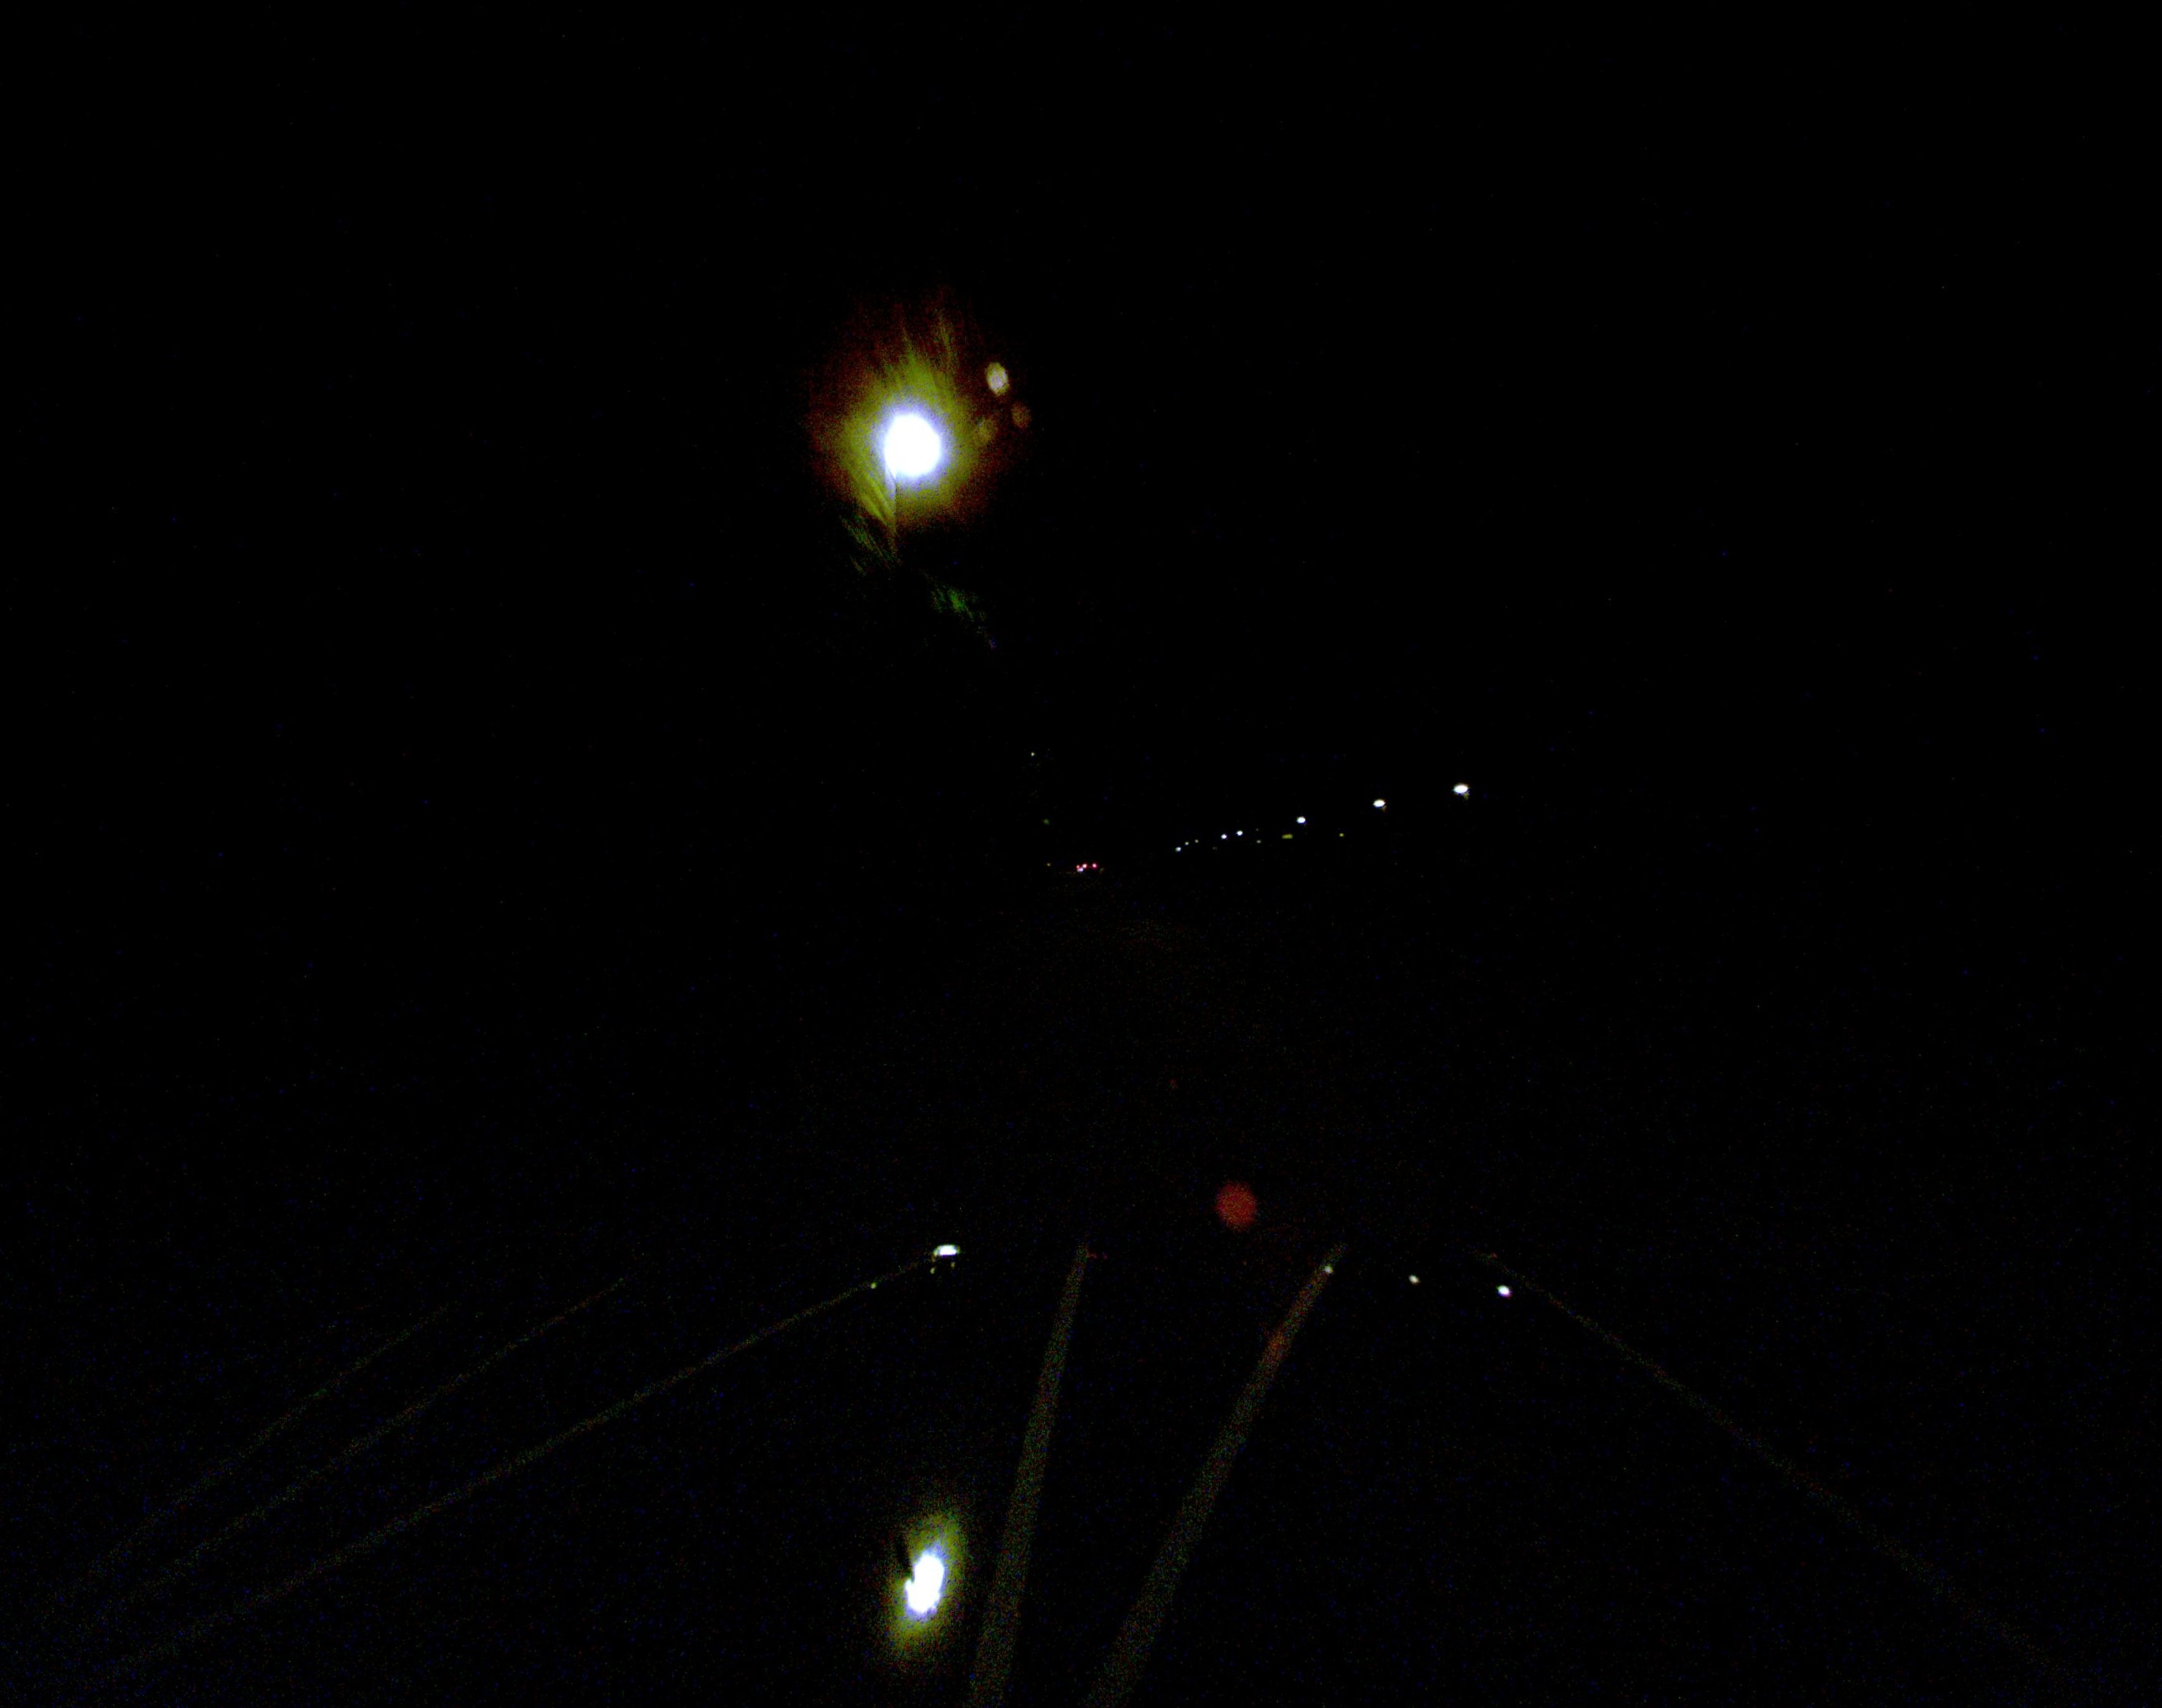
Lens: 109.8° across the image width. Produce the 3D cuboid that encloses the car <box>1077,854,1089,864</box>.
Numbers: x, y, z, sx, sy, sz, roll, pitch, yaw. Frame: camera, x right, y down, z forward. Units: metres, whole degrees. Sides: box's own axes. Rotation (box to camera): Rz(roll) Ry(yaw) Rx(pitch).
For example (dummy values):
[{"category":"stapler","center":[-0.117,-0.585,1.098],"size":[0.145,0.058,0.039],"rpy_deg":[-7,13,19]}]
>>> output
[{"category":"car","center":[0.343,0.759,113.014],"size":[1.692,1.449,4.000],"rpy_deg":[-2,0,0]}]

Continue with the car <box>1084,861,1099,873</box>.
[{"category":"car","center":[1.319,1.606,95.803],"size":[1.651,1.483,3.557],"rpy_deg":[-2,0,-1]}]
